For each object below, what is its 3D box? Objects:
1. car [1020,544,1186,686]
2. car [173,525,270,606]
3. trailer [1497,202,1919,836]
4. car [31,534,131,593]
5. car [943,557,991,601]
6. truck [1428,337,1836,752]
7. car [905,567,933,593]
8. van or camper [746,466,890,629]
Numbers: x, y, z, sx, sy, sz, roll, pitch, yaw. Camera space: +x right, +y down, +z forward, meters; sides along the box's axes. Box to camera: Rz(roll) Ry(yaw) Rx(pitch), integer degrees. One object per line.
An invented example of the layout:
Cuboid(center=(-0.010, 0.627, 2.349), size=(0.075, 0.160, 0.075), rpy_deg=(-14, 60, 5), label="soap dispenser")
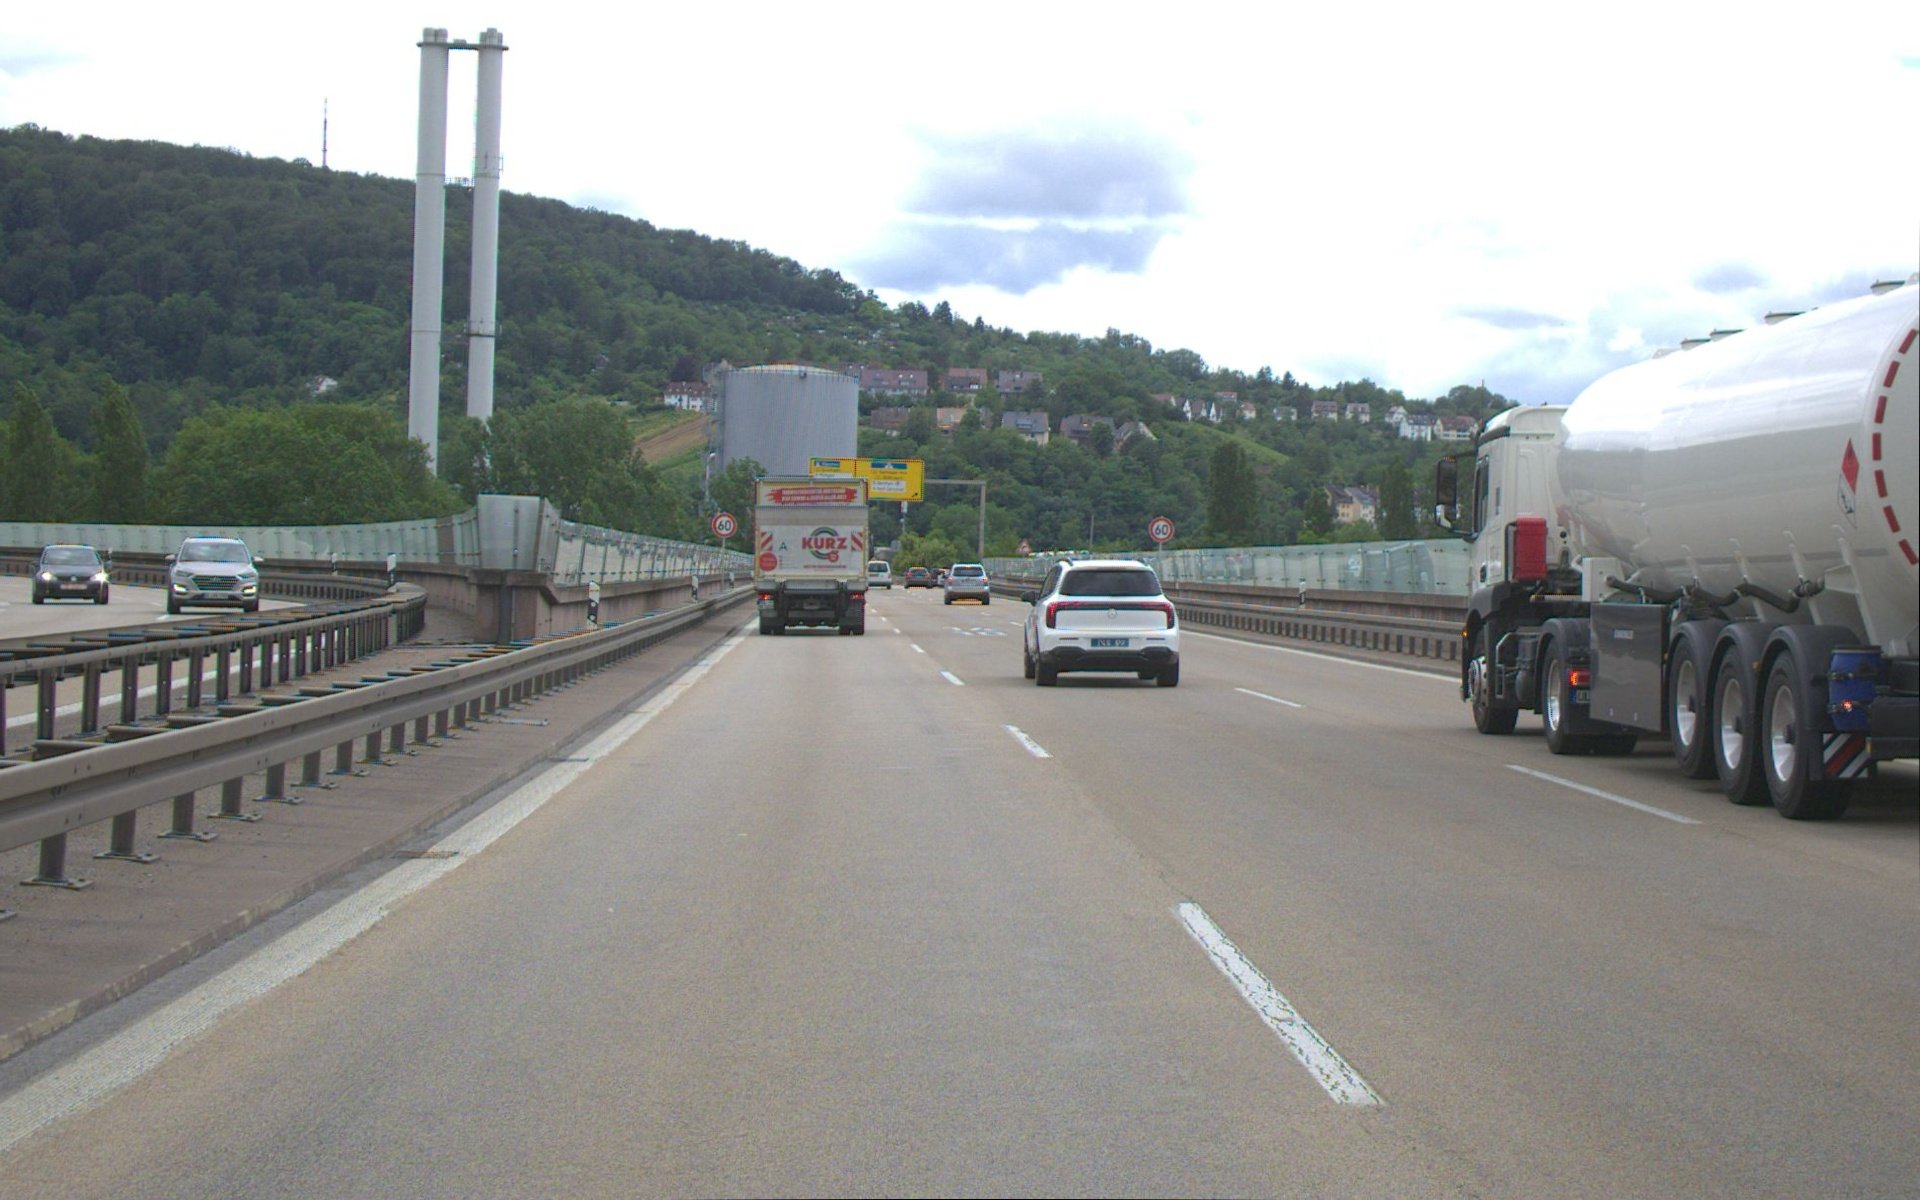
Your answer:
Cuboid(center=(1.867, 0.166, 46.096), size=(1.924, 1.779, 4.113), rpy_deg=(1, 1, -2), label="car")
Cuboid(center=(-15.834, -0.748, 73.901), size=(1.844, 1.667, 4.409), rpy_deg=(1, 1, -10), label="car")
Cuboid(center=(6.272, -0.464, 24.812), size=(2.650, 3.531, 11.221), rpy_deg=(1, 0, -2), label="trailer")
Cuboid(center=(-22.001, -0.919, 86.181), size=(1.759, 1.427, 4.397), rpy_deg=(1, 1, -6), label="car")
Cuboid(center=(0.308, -0.891, 142.148), size=(1.924, 1.779, 4.113), rpy_deg=(1, 1, 1), label="car")
Cuboid(center=(6.059, -0.493, 31.741), size=(2.630, 3.502, 4.904), rpy_deg=(1, 0, -2), label="truck")
Cuboid(center=(-2.866, -1.409, 239.808), size=(1.924, 1.779, 4.113), rpy_deg=(1, 1, -2), label="car")
Cuboid(center=(-3.237, -1.182, 80.400), size=(3.121, 3.567, 8.550), rpy_deg=(1, 0, -1), label="van or camper")
